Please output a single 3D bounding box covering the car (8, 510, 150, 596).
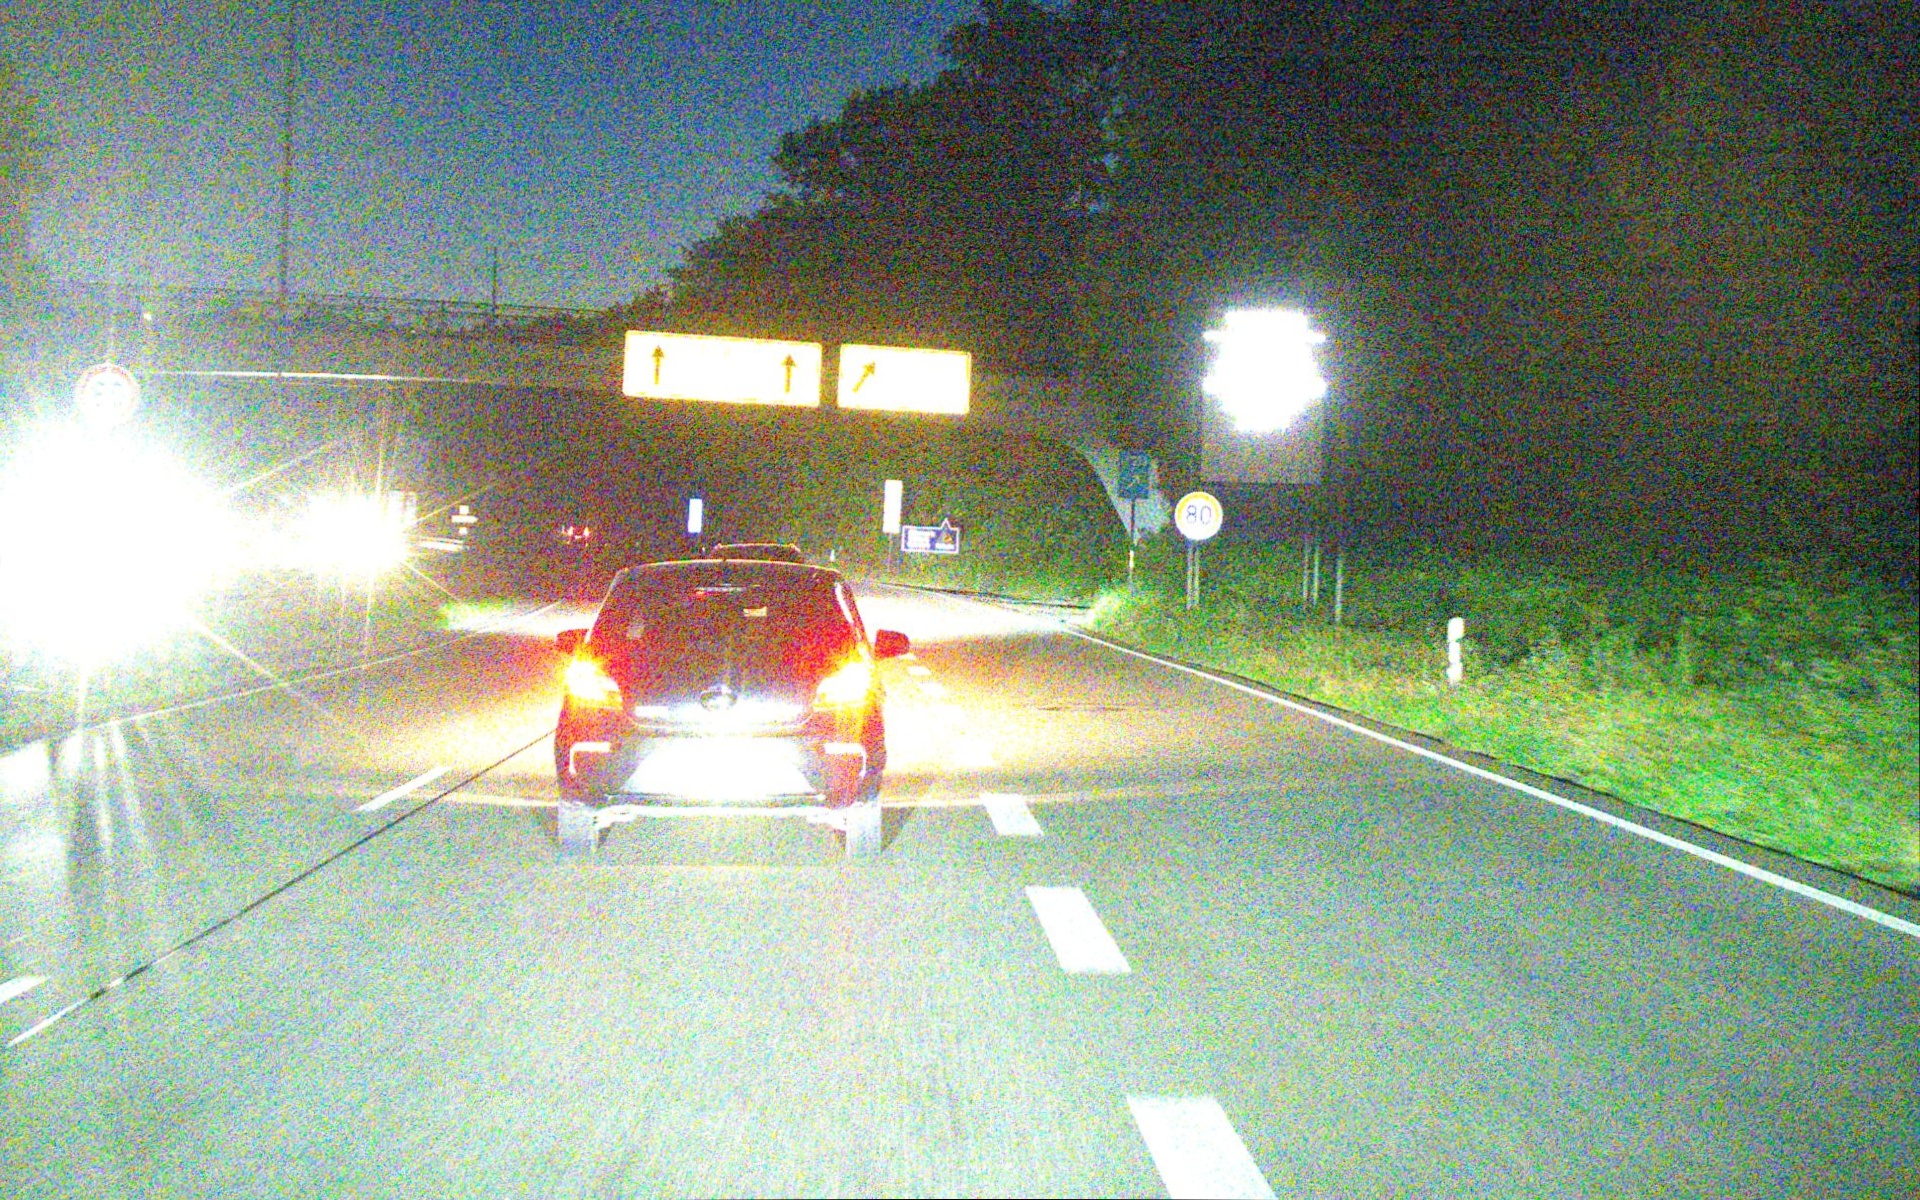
[{"bbox_3d":[-19.093,-1.031,74.703,1.967,1.757,5.033,1,1,-3],"label":"car"}]

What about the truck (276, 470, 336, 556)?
[{"bbox_3d":[-34.548,-4.582,181.423,2.625,4.218,8.598,4,0,-12],"label":"truck"}]

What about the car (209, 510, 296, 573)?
[{"bbox_3d":[-23.741,-1.977,115.559,2.361,2.007,5.034,1,1,-6],"label":"car"}]

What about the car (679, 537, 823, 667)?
[{"bbox_3d":[-3.009,-0.010,50.171,1.906,1.692,4.001,3,1,-2],"label":"car"}]

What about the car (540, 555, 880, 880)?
[{"bbox_3d":[-1.285,0.524,18.119,1.588,1.503,4.001,0,1,-3],"label":"car"}]

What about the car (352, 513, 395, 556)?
[{"bbox_3d":[-32.536,-3.623,190.676,1.993,2.259,4.001,4,0,-7],"label":"car"}]
